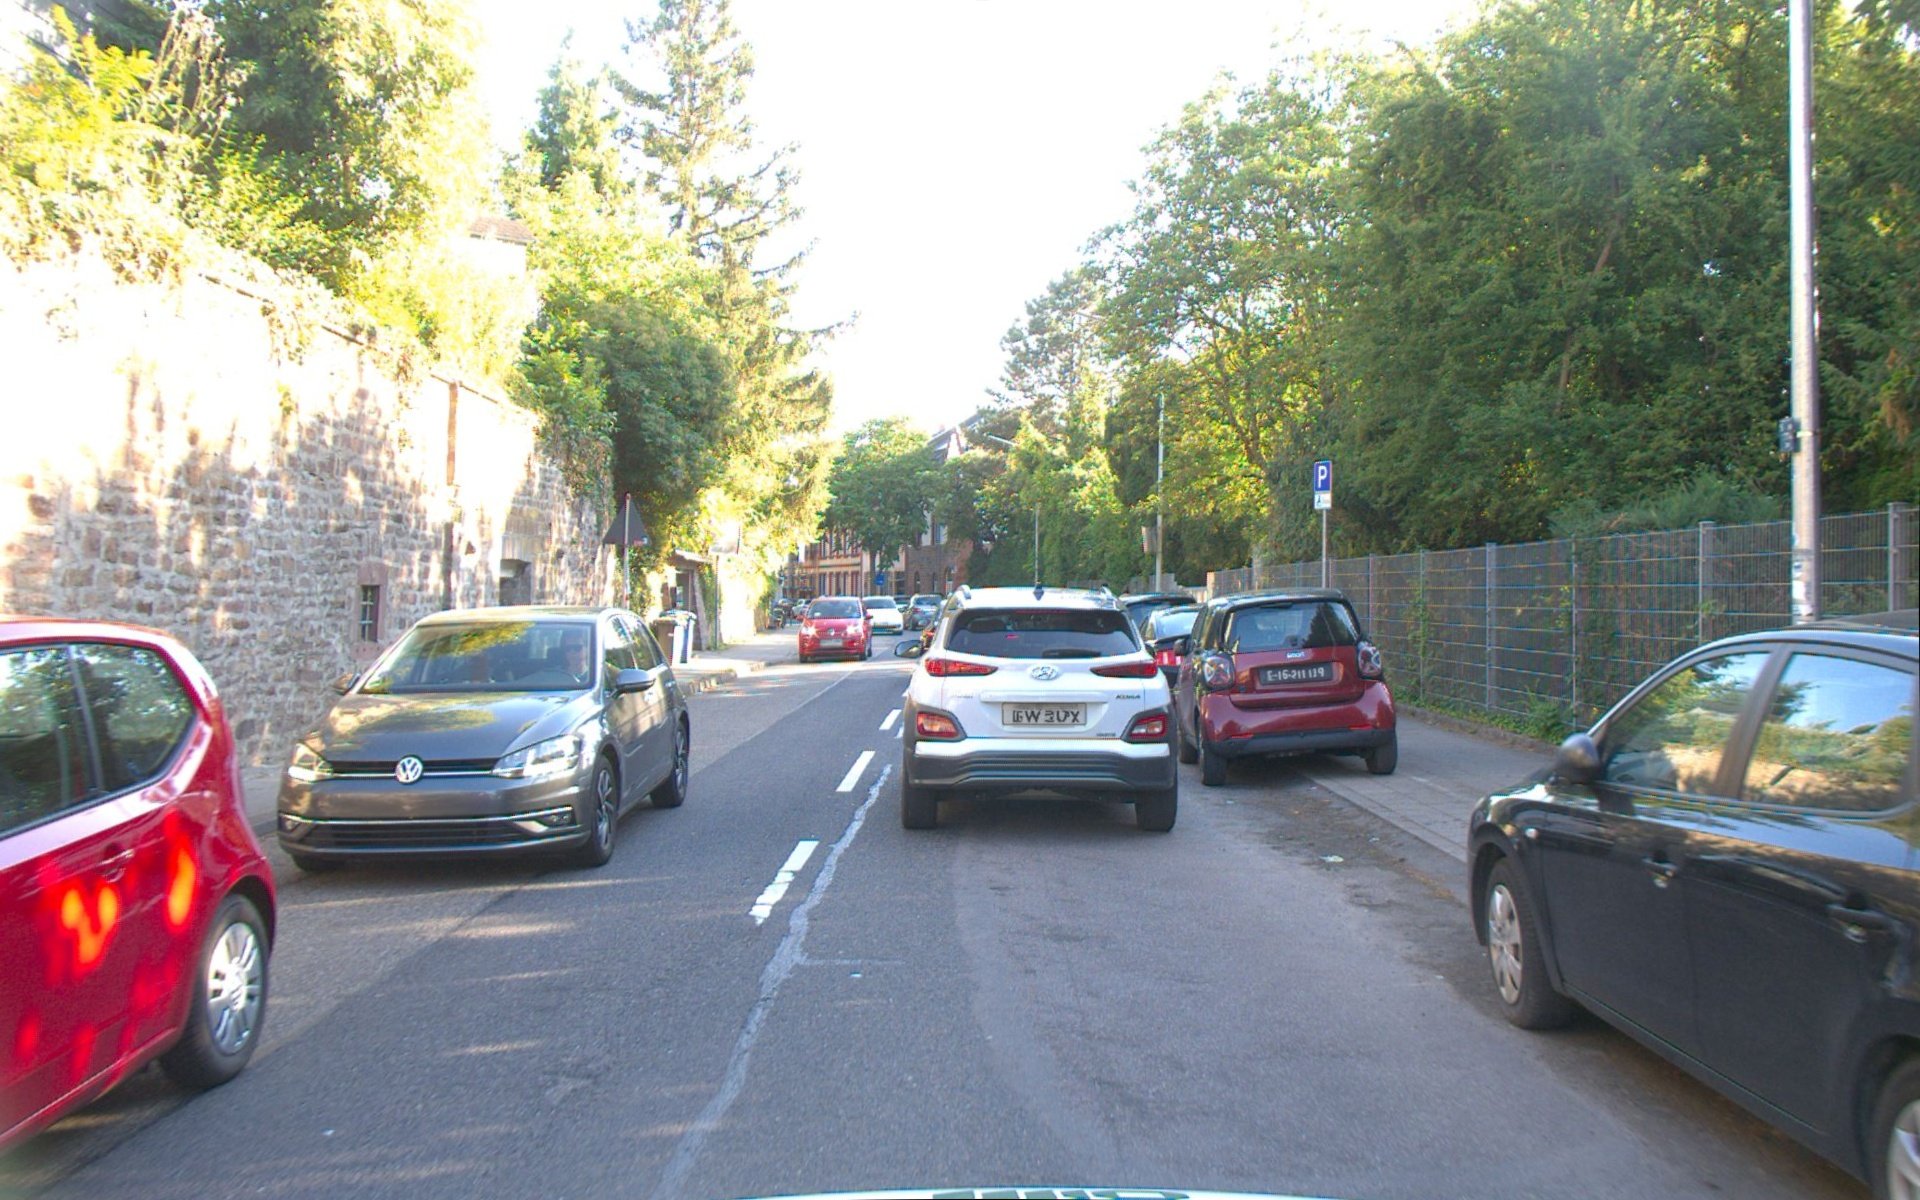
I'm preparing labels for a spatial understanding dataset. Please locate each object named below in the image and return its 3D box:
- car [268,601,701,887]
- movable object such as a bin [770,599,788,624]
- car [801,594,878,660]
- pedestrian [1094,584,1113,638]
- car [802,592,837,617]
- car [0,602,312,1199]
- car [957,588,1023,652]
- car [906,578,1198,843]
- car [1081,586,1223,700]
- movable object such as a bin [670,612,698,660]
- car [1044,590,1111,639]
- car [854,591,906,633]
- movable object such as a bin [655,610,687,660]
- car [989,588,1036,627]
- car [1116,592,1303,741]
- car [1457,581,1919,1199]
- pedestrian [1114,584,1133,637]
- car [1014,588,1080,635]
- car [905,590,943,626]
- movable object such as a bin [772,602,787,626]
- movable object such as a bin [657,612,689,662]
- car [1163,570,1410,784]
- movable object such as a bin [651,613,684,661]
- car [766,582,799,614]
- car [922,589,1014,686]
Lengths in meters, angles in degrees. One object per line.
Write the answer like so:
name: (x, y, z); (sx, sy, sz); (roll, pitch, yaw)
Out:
car: (-2.744, 0.739, 10.438); (1.615, 1.435, 3.930); (0, 0, -1)
movable object such as a bin: (-8.879, 0.568, 81.169); (0.776, 1.210, 0.772); (2, -1, -1)
car: (-2.855, 0.618, 39.823); (1.518, 1.492, 3.569); (-1, 0, 0)
pedestrian: (4.385, 0.326, 50.664); (0.493, 1.634, 0.491); (-2, 0, 0)
car: (-10.266, 0.306, 120.831); (1.728, 1.645, 3.982); (2, 1, -17)
car: (-2.944, 0.739, 3.789); (1.594, 1.446, 3.562); (0, 0, -2)
car: (0.798, 0.482, 41.729); (1.538, 1.503, 3.549); (1, 0, 3)
car: (0.588, 0.667, 11.990); (1.735, 1.569, 4.000); (1, 0, 1)
car: (2.813, 0.593, 24.752); (1.592, 1.536, 2.901); (-2, 1, -4)
movable object such as a bin: (-5.828, 0.751, 34.902); (0.480, 0.981, 0.583); (2, 0, -2)
car: (3.744, 0.446, 53.207); (1.652, 1.456, 3.998); (-2, 0, -2)
car: (-3.078, 0.463, 64.633); (1.705, 1.500, 4.000); (-3, 0, 1)
movable object such as a bin: (-5.910, 0.719, 33.819); (0.561, 1.002, 0.438); (2, -1, -2)
car: (2.203, 0.302, 69.791); (1.562, 1.515, 3.599); (-2, 0, -4)
car: (2.888, 0.700, 20.068); (1.675, 1.524, 4.815); (2, 0, 2)
car: (2.858, 0.686, 4.580); (1.757, 1.466, 4.000); (0, 0, 0)
pedestrian: (5.013, 0.325, 50.674); (0.493, 1.596, 0.503); (-2, 0, 0)
car: (3.051, 0.404, 58.812); (1.563, 1.592, 3.993); (-2, 0, -8)
car: (-1.664, 0.354, 74.587); (1.558, 1.610, 3.358); (0, 0, -4)
movable object such as a bin: (-7.774, 0.600, 71.128); (0.485, 1.029, 1.112); (2, -1, 0)
movable object such as a bin: (-5.952, 0.764, 34.307); (0.561, 1.002, 0.438); (2, -1, -2)
car: (2.787, 0.621, 14.678); (1.619, 1.591, 2.873); (-4, 0, 2)
movable object such as a bin: (-5.903, 0.745, 33.361); (0.572, 0.954, 0.438); (2, -1, -2)
car: (-14.810, -0.167, 137.942); (1.899, 2.628, 4.371); (-1, 0, -18)
car: (0.186, 0.591, 28.583); (1.480, 1.560, 3.549); (0, 1, 2)
